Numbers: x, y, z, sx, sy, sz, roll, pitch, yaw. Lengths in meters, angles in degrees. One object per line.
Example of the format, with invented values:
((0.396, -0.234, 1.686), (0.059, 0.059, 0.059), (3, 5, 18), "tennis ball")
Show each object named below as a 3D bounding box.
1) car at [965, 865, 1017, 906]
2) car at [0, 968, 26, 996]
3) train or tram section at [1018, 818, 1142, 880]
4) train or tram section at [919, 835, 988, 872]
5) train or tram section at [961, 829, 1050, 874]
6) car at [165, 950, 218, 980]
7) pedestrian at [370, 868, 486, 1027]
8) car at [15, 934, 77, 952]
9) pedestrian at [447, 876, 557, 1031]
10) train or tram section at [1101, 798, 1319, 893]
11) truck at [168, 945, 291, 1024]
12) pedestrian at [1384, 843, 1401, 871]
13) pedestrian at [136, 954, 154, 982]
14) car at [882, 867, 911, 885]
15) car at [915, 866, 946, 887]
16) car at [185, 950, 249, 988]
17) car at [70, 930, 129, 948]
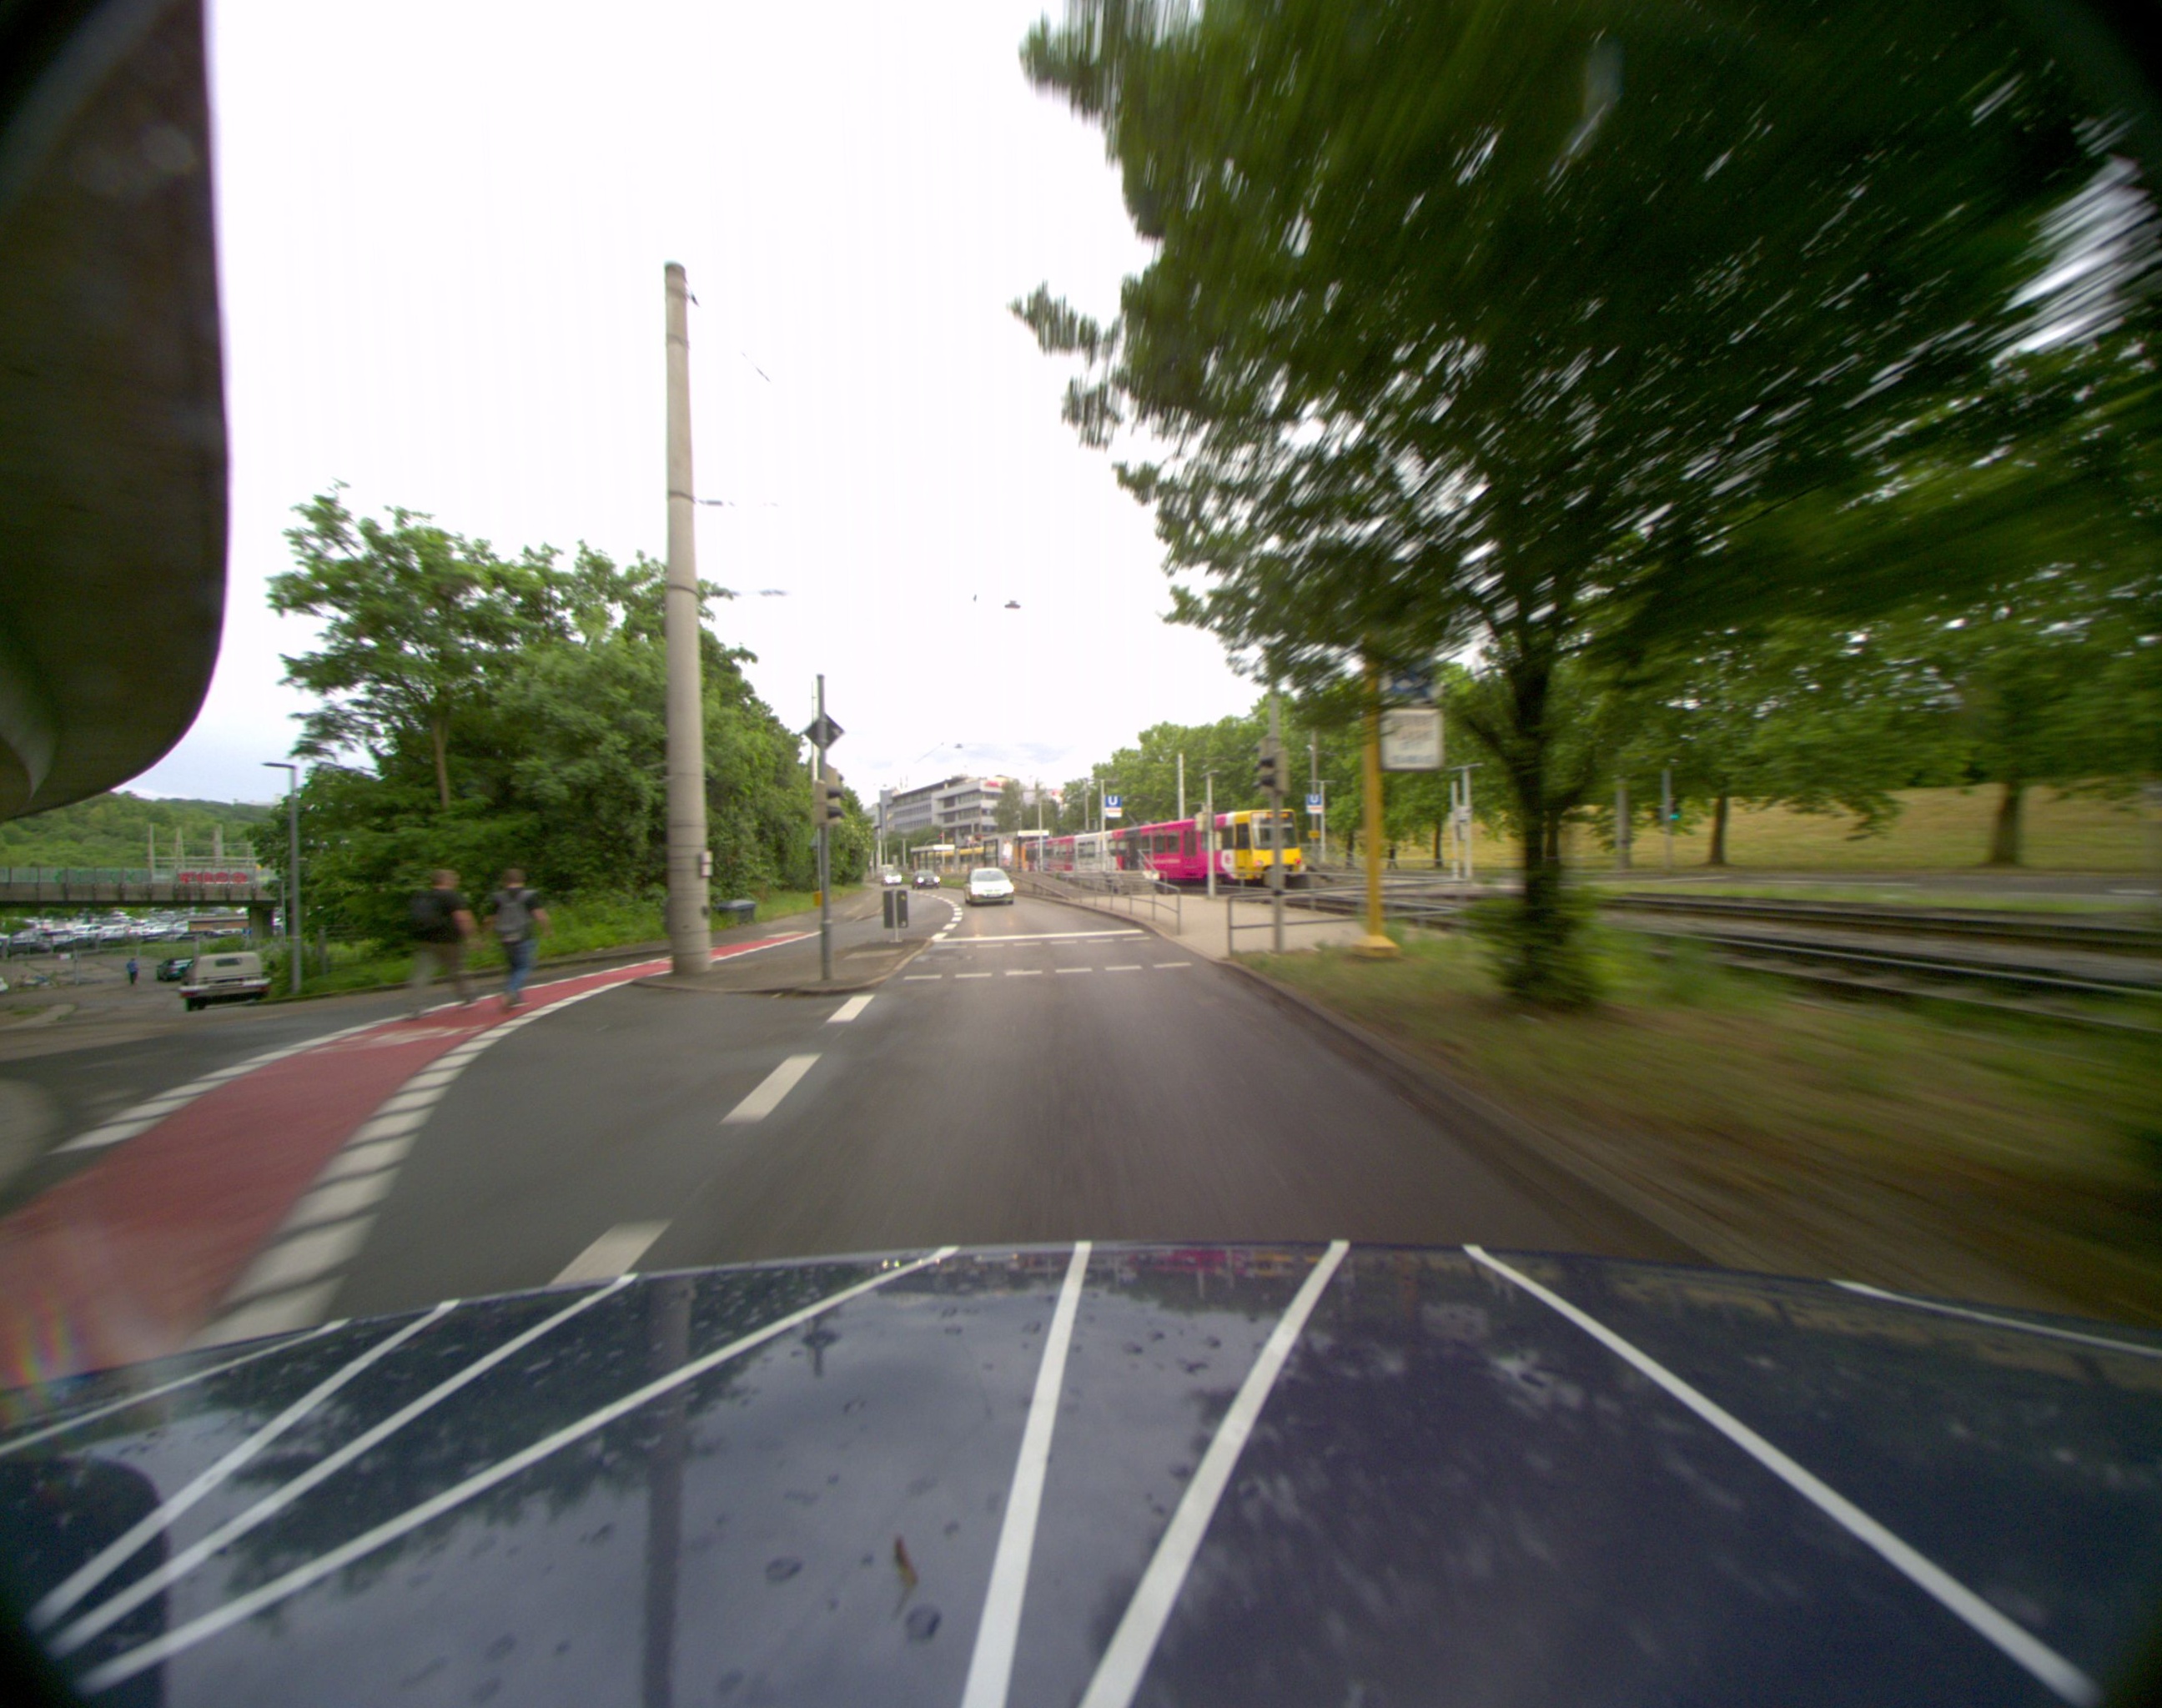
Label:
((-3.774, 1.260, 31.488), (1.782, 1.493, 3.996), (-1, 0, -12), "car")
((-66.213, 7.834, 45.149), (1.768, 1.455, 4.007), (-2, 0, 38), "car")
((-0.753, -0.304, 59.950), (2.879, 3.948, 19.296), (-4, 1, -21), "train or tram section")
((-16.347, 0.018, 95.138), (2.880, 3.950, 19.290), (-5, 1, -26), "train or tram section")
((-8.189, -0.171, 77.724), (2.880, 3.931, 19.293), (-4, 1, -24), "train or tram section")
((-59.123, 7.341, 50.477), (3.763, 1.525, 1.842), (-3, 0, 34), "car")
((-8.072, 1.116, 9.439), (0.599, 1.812, 0.908), (-4, 2, -11), "pedestrian")
((-118.628, 10.209, 87.157), (3.767, 1.485, 1.772), (-3, 0, -33), "car")
((-7.250, 1.207, 9.557), (0.627, 1.798, 0.835), (-4, 2, -6), "pedestrian")
((5.868, -0.377, 41.799), (2.879, 3.938, 19.299), (-4, 1, -18), "train or tram section")
((-31.057, 4.618, 27.842), (5.747, 2.002, 2.713), (-2, 0, 43), "truck")
((20.928, 0.221, 51.065), (0.731, 1.810, 0.763), (-3, 1, -5), "pedestrian")
((-59.964, 7.299, 48.678), (0.513, 1.721, 0.552), (-2, 1, 22), "pedestrian")
((-18.310, 2.164, 75.367), (2.002, 1.563, 3.992), (-4, 1, -24), "car")
((-11.878, 1.753, 59.771), (1.783, 1.493, 3.992), (1, 1, -19), "car")
((-53.101, 7.016, 46.702), (3.882, 1.845, 1.960), (-3, 0, 33), "car")
((-114.304, 9.893, 88.573), (3.767, 1.485, 1.772), (-3, 0, -33), "car")
